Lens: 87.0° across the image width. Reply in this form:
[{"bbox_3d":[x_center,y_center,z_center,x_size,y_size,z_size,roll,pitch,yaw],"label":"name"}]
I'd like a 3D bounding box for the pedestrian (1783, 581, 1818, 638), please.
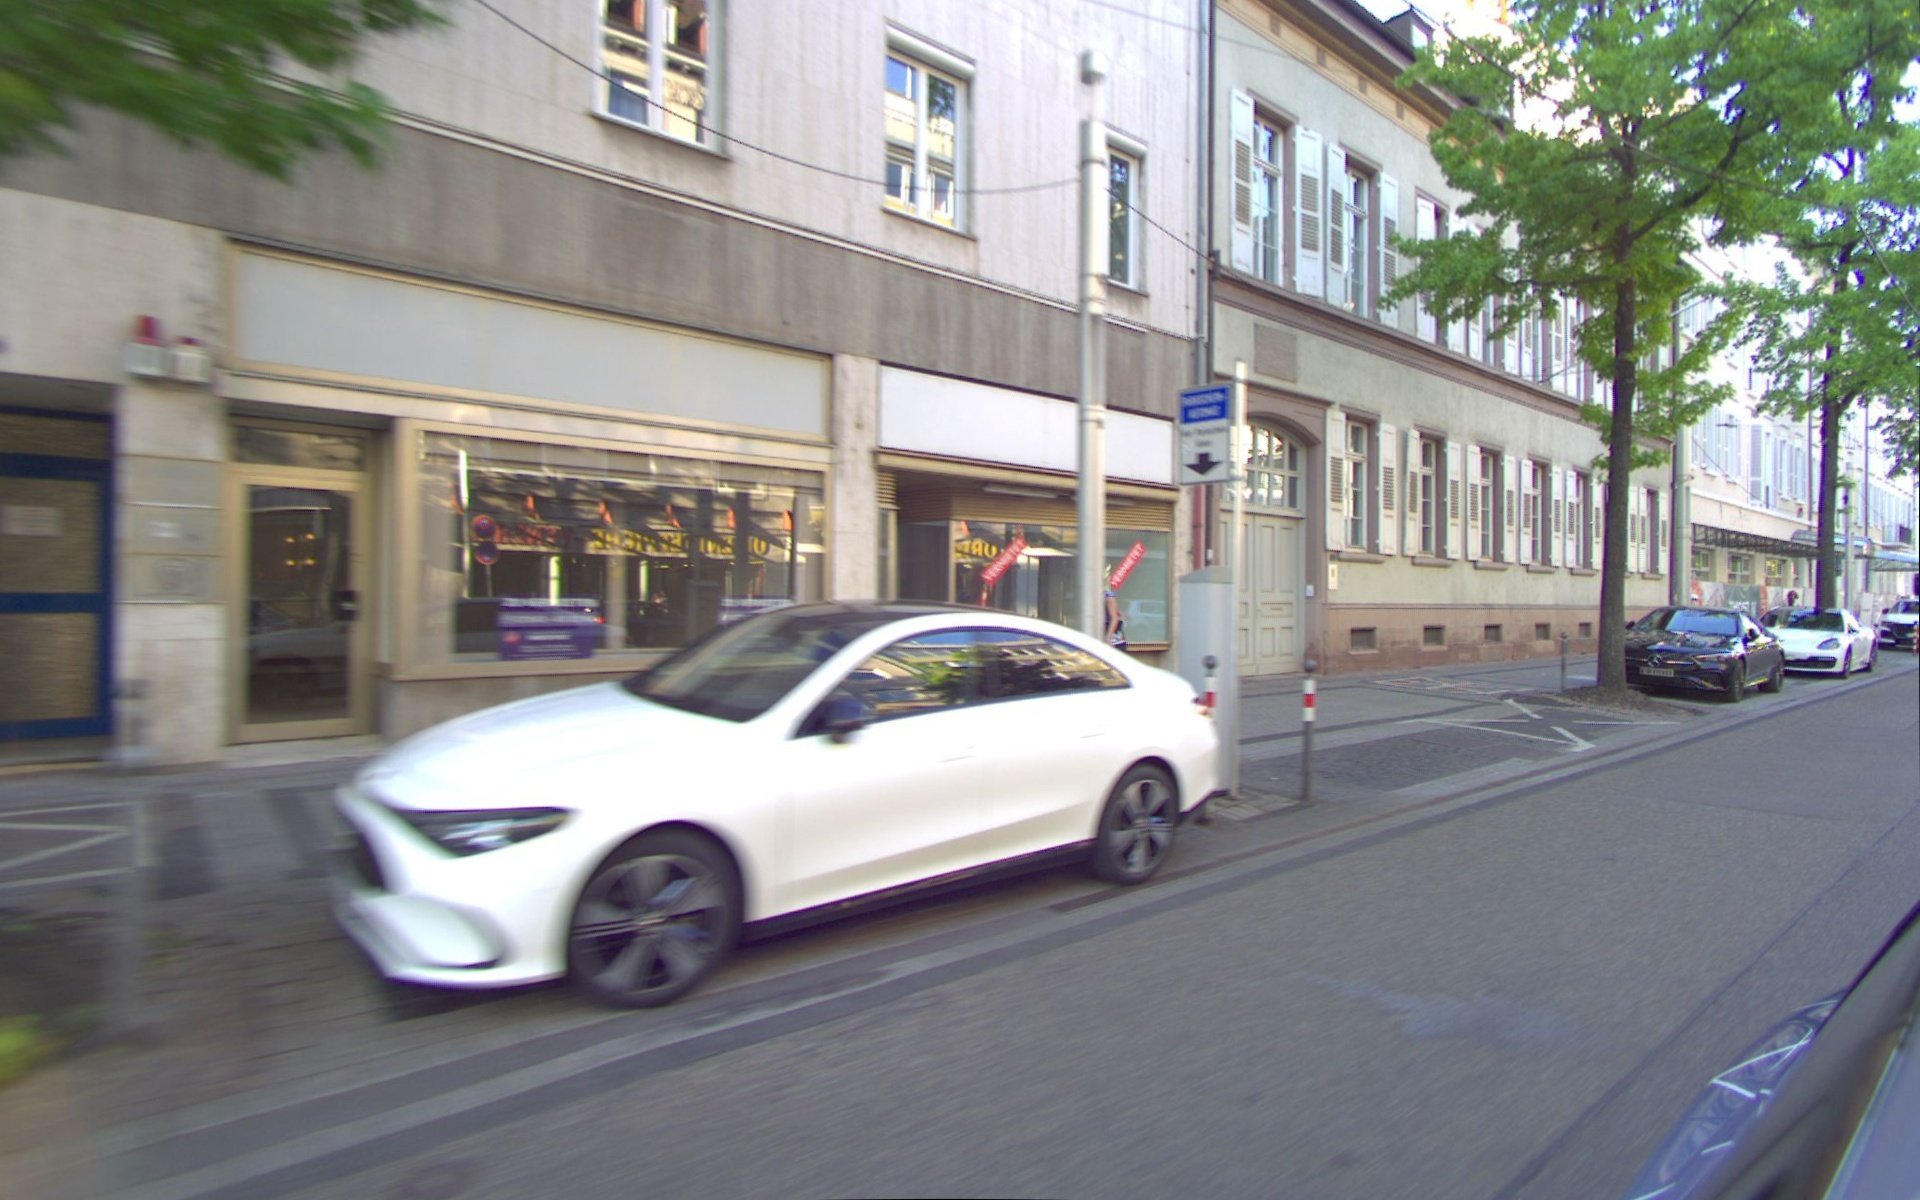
[{"bbox_3d":[28.872,0.313,34.775,1.034,1.910,0.714,1,1,-40],"label":"pedestrian"}]

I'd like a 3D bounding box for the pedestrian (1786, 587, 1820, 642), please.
[{"bbox_3d":[24.827,0.420,29.802,0.784,1.593,0.650,0,0,-40],"label":"pedestrian"}]

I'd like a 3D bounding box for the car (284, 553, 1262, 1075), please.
[{"bbox_3d":[-0.651,0.619,5.274,4.596,1.516,1.999,0,3,-40],"label":"car"}]

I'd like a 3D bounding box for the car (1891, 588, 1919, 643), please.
[{"bbox_3d":[32.463,0.510,33.529,4.885,1.708,2.000,-1,3,-43],"label":"car"}]

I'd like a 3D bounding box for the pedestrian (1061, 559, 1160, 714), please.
[{"bbox_3d":[1.731,0.388,11.639,0.873,1.685,0.659,0,2,-41],"label":"pedestrian"}]

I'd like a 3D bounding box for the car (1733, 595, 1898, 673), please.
[{"bbox_3d":[18.699,0.670,22.034,4.801,1.438,1.917,0,3,-40],"label":"car"}]

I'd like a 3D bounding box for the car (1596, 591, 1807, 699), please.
[{"bbox_3d":[12.518,0.646,16.971,4.678,1.496,1.836,0,2,-41],"label":"car"}]
